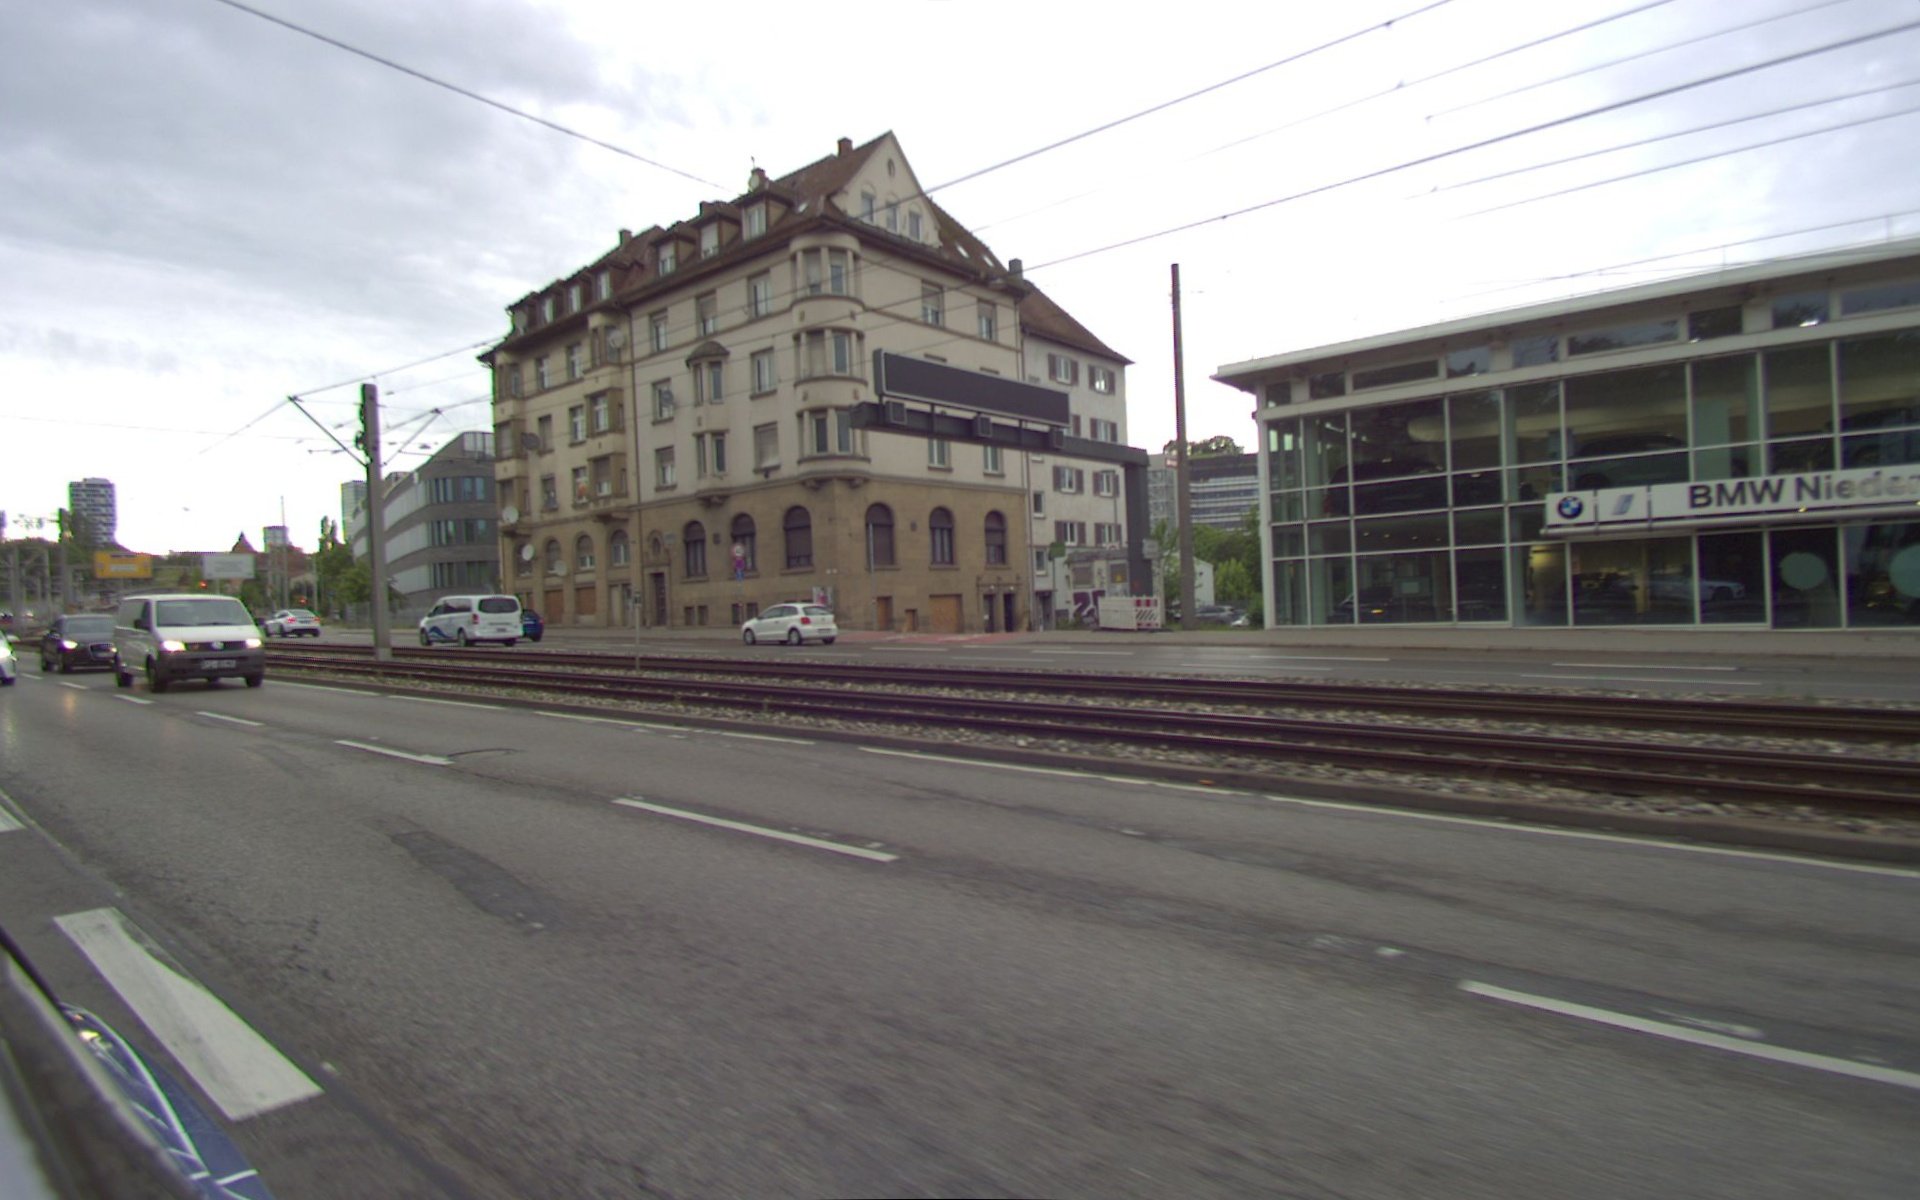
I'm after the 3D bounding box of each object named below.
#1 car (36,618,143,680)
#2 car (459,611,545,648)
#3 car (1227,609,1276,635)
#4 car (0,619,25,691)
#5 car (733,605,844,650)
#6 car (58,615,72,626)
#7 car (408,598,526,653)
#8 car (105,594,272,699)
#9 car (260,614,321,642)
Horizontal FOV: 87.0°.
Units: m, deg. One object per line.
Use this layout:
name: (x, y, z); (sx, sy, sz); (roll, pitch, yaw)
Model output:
car: (-24.434, 1.330, 28.362); (3.893, 1.585, 1.687); (-2, 0, 41)
car: (-19.258, 1.233, 42.483); (4.329, 1.444, 1.590); (-1, 0, 41)
car: (18.438, 1.380, 63.876); (1.609, 1.444, 4.119); (-1, 0, 37)
car: (-23.312, 1.266, 23.434); (4.316, 1.585, 1.957); (-2, 0, 41)
car: (-5.919, 0.929, 34.732); (3.849, 1.415, 1.663); (-2, 0, 41)
car: (-173.450, 3.946, 196.190); (1.969, 1.962, 4.006); (-1, 0, -41)
car: (-18.310, 0.943, 37.488); (5.188, 1.888, 1.974); (-2, 0, 40)
car: (-16.458, 0.923, 21.499); (4.715, 1.973, 1.890); (-2, 0, 41)
car: (-39.804, 1.686, 60.140); (4.738, 1.604, 1.703); (-1, -2, 40)
